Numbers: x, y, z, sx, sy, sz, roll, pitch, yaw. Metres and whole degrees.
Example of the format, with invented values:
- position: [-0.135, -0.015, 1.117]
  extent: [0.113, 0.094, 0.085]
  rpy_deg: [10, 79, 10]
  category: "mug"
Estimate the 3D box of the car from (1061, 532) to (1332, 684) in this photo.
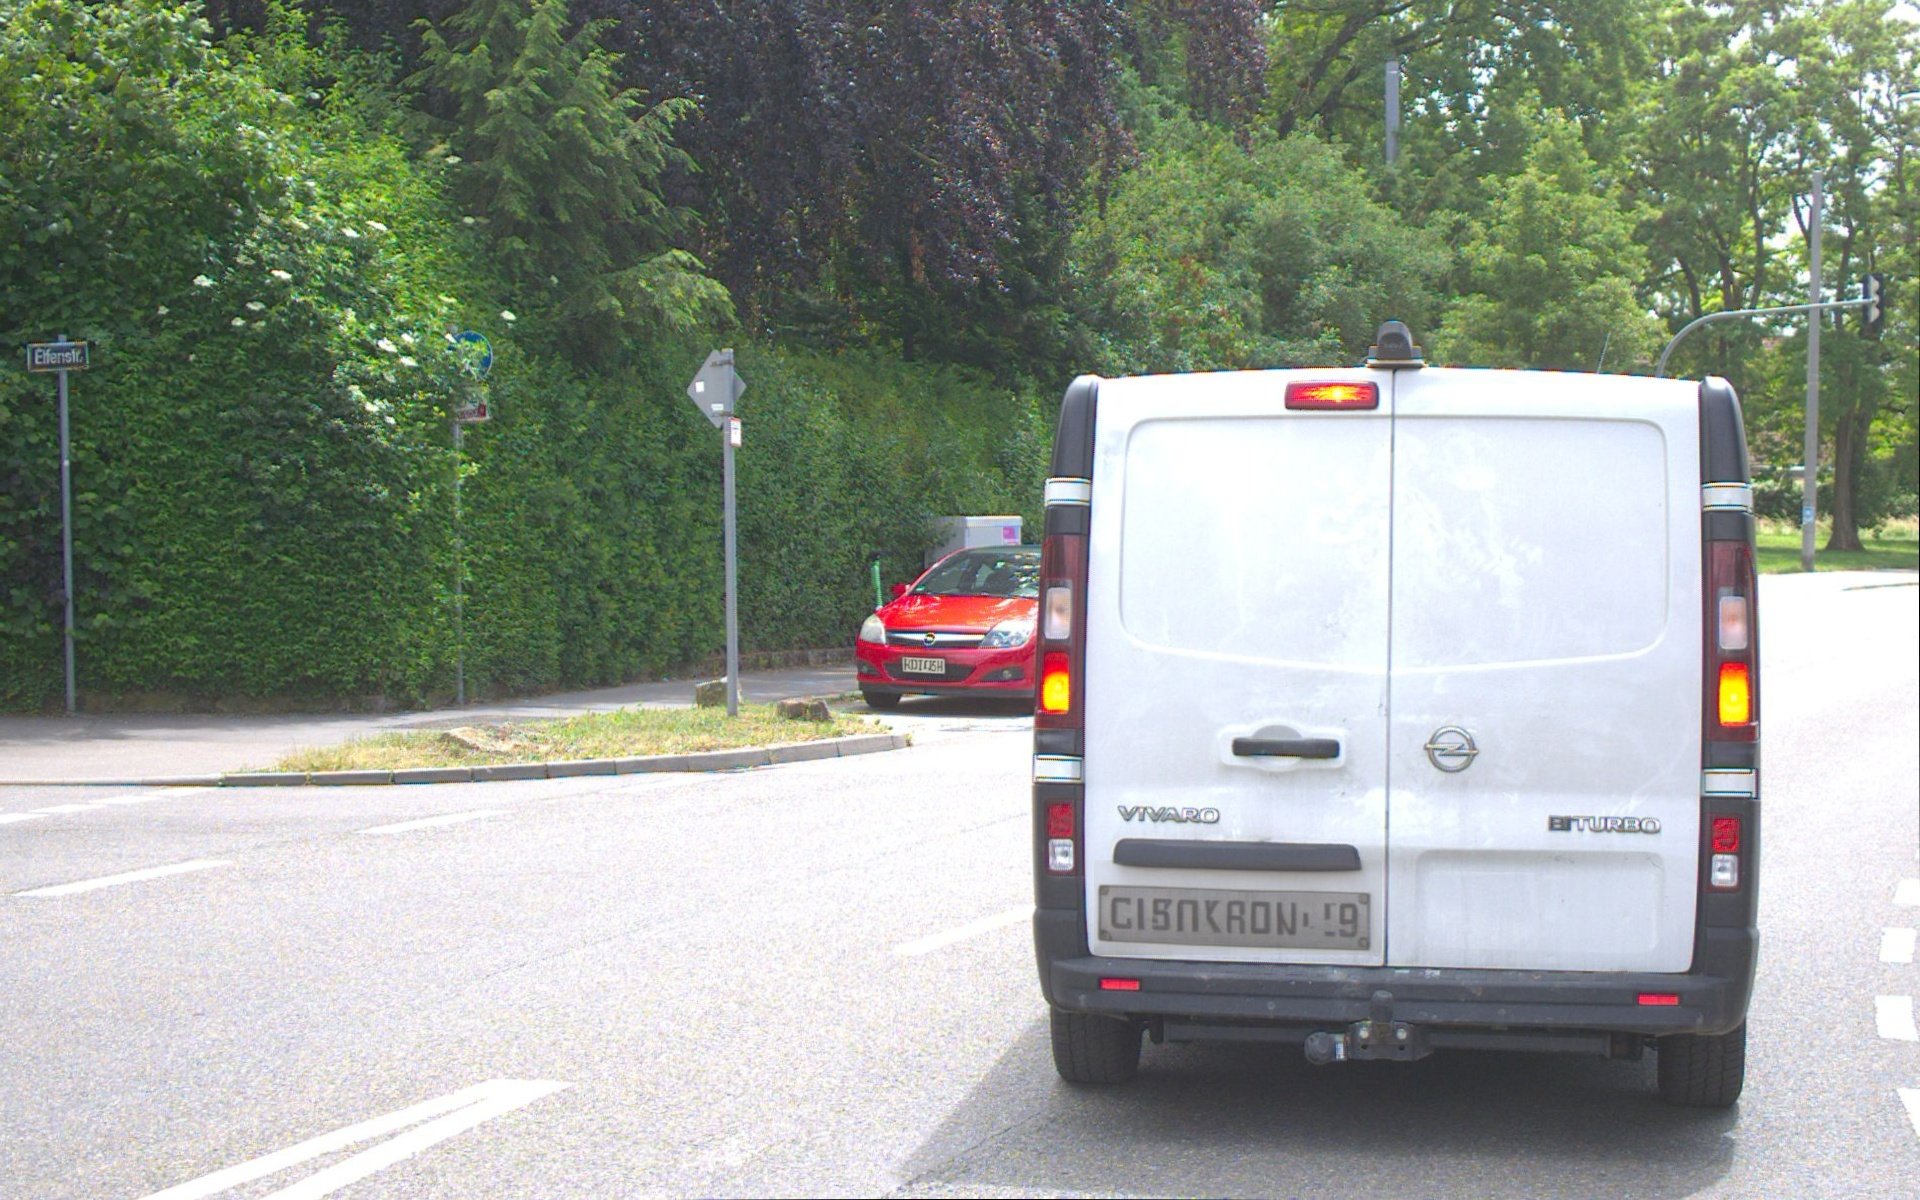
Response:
- position: [2.504, 0.034, 35.511]
  extent: [1.651, 1.445, 4.101]
  rpy_deg: [2, 2, 21]
  category: "car"

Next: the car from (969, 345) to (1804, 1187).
- position: [1.400, 0.314, 10.689]
  extent: [1.939, 1.954, 4.831]
  rpy_deg: [2, 2, 9]
  category: "car"

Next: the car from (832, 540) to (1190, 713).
- position: [0.549, 0.173, 30.586]
  extent: [1.662, 1.373, 4.561]
  rpy_deg: [2, 2, 22]
  category: "car"

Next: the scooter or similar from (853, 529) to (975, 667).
- position: [-0.474, -0.036, 36.298]
  extent: [0.671, 1.407, 1.647]
  rpy_deg: [1, 2, 23]
  category: "scooter or similar"
